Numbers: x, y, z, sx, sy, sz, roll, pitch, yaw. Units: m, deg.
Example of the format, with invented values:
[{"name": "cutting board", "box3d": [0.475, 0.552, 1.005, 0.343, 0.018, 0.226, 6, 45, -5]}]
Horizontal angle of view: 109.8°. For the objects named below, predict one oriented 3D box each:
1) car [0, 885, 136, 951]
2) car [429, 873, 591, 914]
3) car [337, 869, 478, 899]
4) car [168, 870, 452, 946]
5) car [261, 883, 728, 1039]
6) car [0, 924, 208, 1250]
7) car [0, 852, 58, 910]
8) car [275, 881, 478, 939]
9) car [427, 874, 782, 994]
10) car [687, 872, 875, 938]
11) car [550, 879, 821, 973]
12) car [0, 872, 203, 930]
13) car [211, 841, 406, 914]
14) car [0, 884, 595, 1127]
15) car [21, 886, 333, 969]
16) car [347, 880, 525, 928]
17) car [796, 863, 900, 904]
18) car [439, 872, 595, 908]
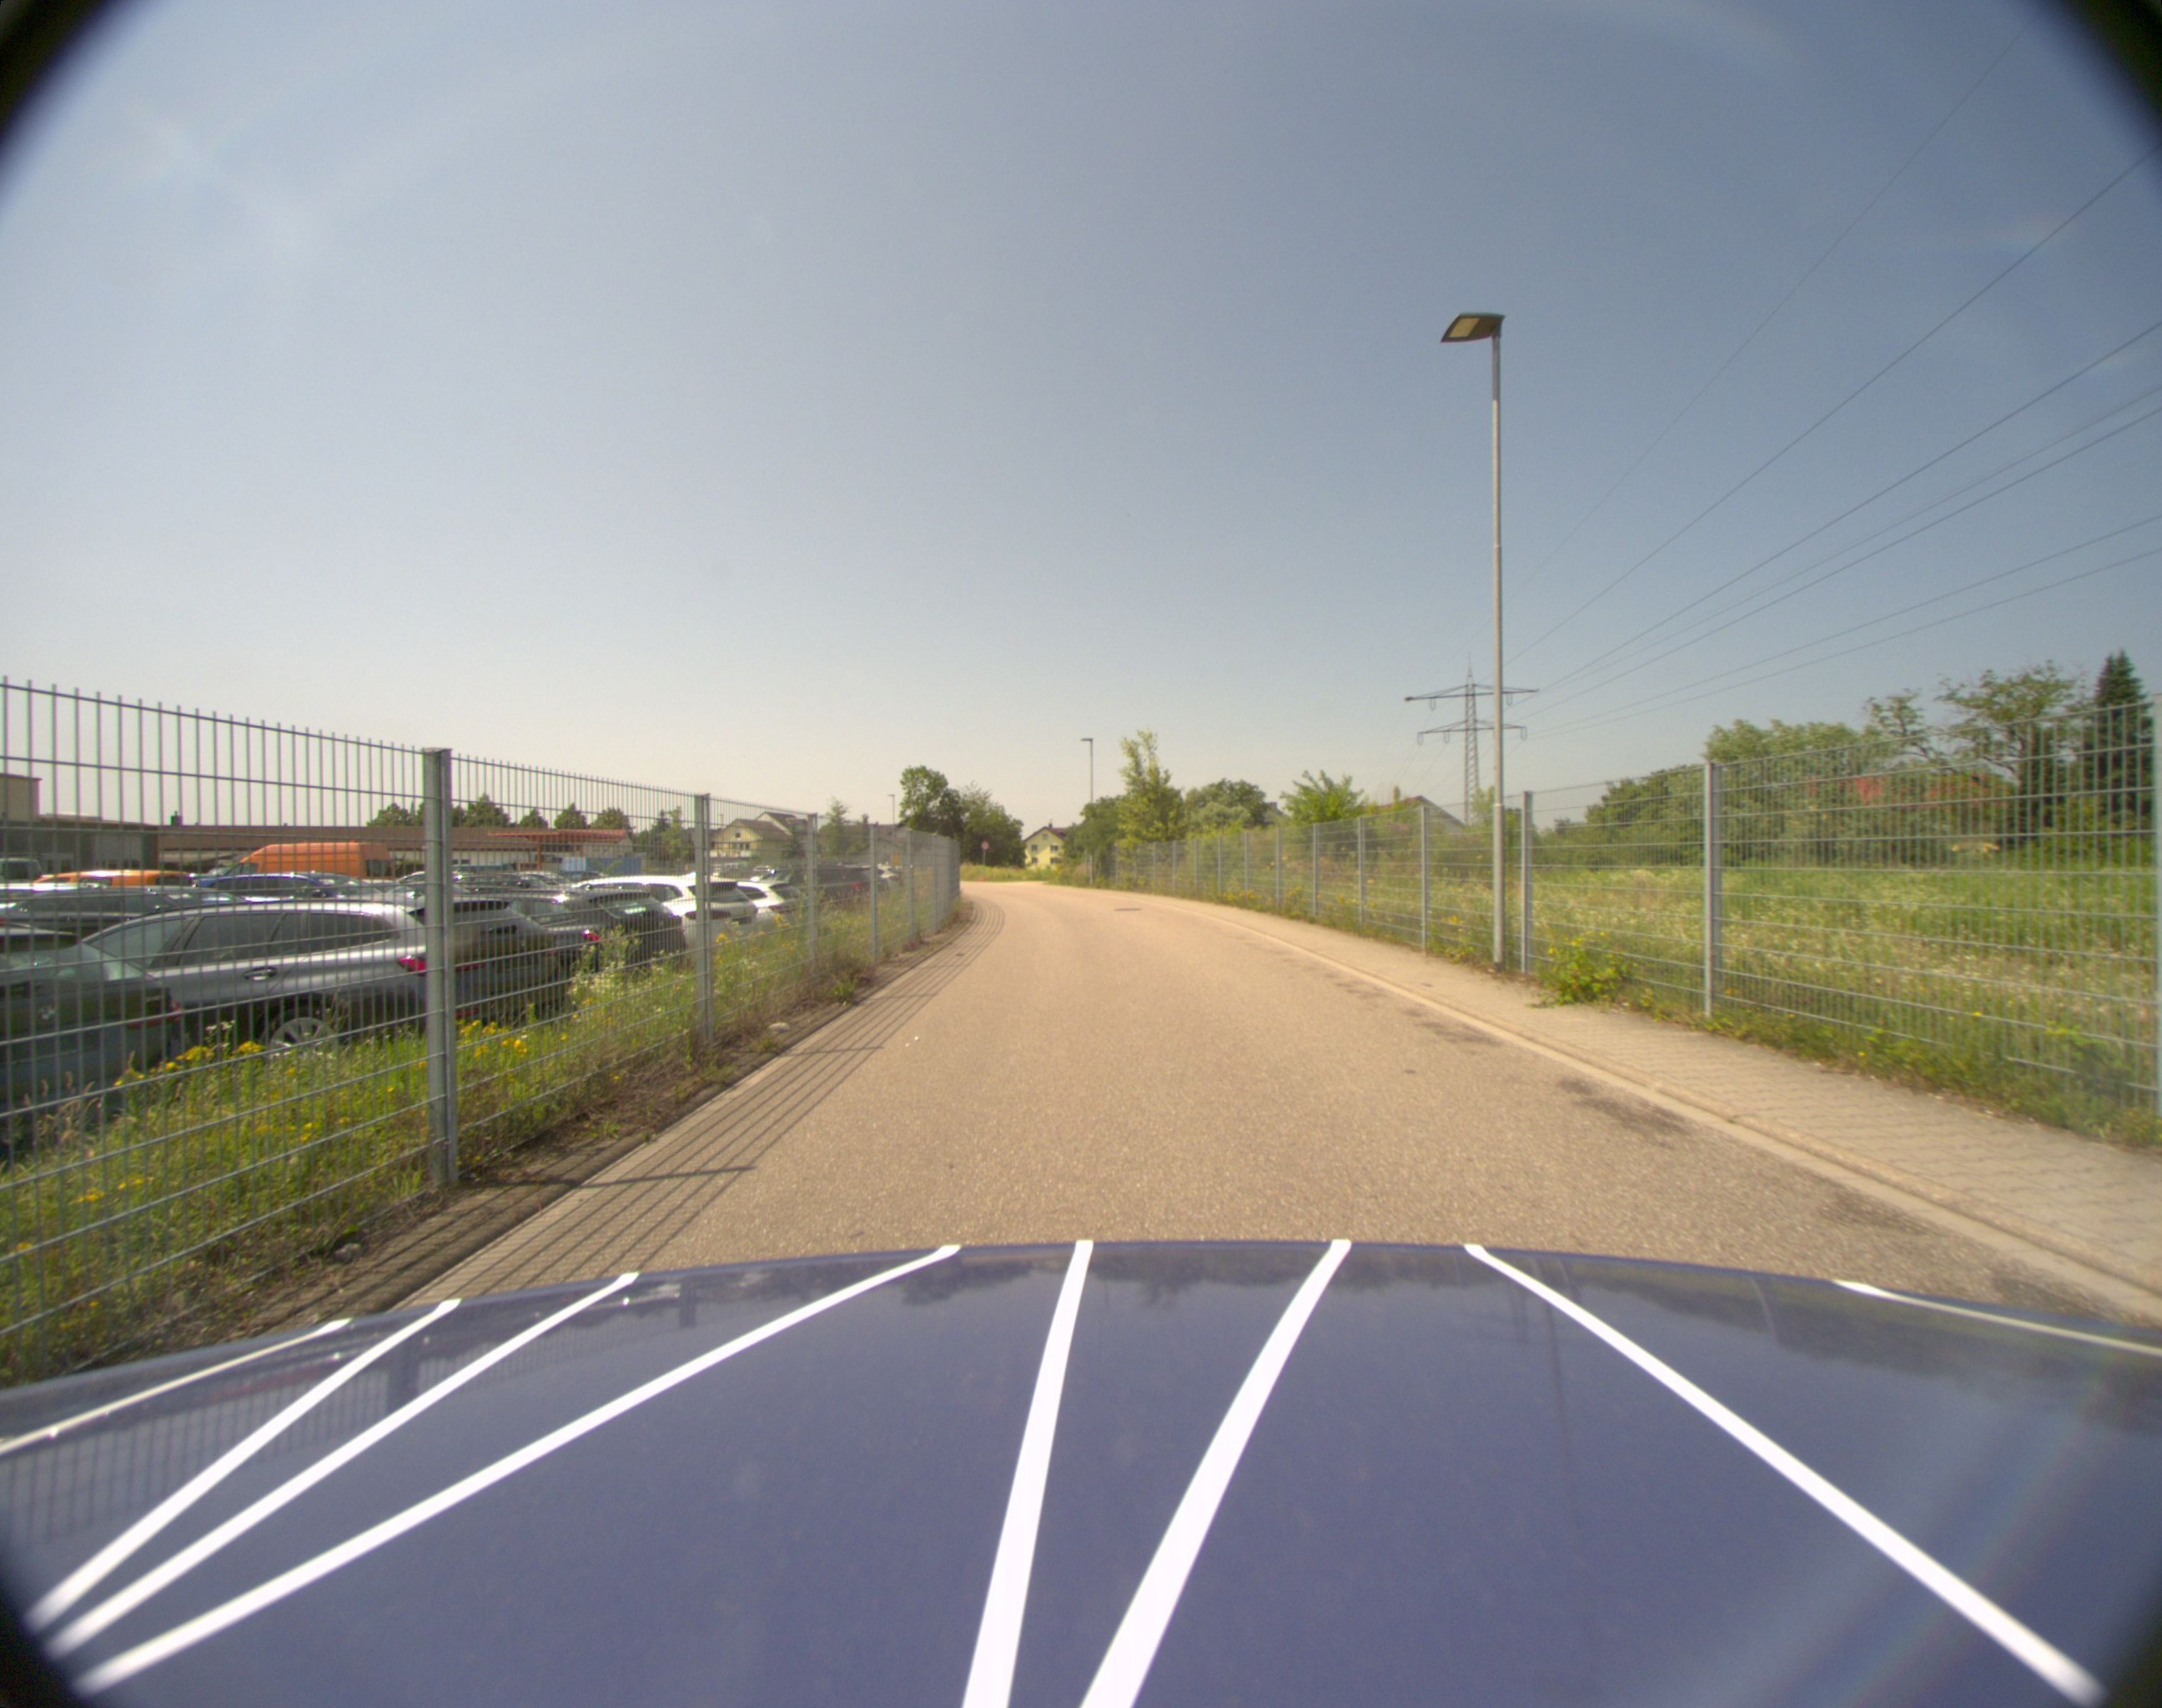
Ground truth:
[{"name": "car", "box3d": [-25.391, 1.491, 17.821, 3.832, 1.453, 1.587, 0, -1, -16]}, {"name": "car", "box3d": [-21.313, 1.437, 28.551, 4.579, 1.424, 1.660, 0, -1, -16]}, {"name": "car", "box3d": [-30.321, 1.309, 34.368, 4.392, 1.262, 1.819, 0, -1, -16]}, {"name": "car", "box3d": [-18.143, 1.217, 18.130, 4.477, 1.639, 1.876, 0, -1, -11]}, {"name": "car", "box3d": [-6.847, 1.212, 9.184, 4.219, 1.398, 1.839, -4, 1, 4]}, {"name": "car", "box3d": [-7.190, 1.236, 3.309, 4.522, 1.398, 1.637, -4, 1, -5]}, {"name": "car", "box3d": [-42.442, 1.038, 28.575, 4.393, 2.159, 1.971, 0, -1, -18]}, {"name": "car", "box3d": [-19.231, 1.497, 20.917, 3.775, 1.428, 1.610, 0, -1, -16]}, {"name": "car", "box3d": [-7.067, 1.158, 11.568, 4.219, 1.398, 1.839, -4, 1, 4]}, {"name": "car", "box3d": [-7.833, 1.307, 20.173, 4.292, 1.627, 1.764, 0, -1, -3]}, {"name": "car", "box3d": [-7.522, 1.346, 14.720, 4.219, 1.398, 1.839, -4, 1, 4]}, {"name": "car", "box3d": [-26.625, 1.221, 20.333, 3.832, 1.453, 1.587, 0, -1, -16]}, {"name": "car", "box3d": [-28.769, 0.841, 28.499, 4.749, 2.569, 1.978, 0, -1, -16]}, {"name": "car", "box3d": [-6.943, 1.160, 6.275, 4.521, 1.398, 1.838, -4, 1, -2]}, {"name": "car", "box3d": [-17.887, 1.403, 15.260, 3.775, 1.428, 1.610, 0, -1, -16]}, {"name": "car", "box3d": [-19.421, 1.473, 23.060, 3.775, 1.294, 1.610, 0, -1, -16]}, {"name": "car", "box3d": [-9.902, 1.223, 32.433, 4.138, 1.660, 1.721, 0, -1, -17]}, {"name": "car", "box3d": [-22.770, 1.419, 30.875, 4.763, 1.344, 1.819, 0, -1, -16]}]
